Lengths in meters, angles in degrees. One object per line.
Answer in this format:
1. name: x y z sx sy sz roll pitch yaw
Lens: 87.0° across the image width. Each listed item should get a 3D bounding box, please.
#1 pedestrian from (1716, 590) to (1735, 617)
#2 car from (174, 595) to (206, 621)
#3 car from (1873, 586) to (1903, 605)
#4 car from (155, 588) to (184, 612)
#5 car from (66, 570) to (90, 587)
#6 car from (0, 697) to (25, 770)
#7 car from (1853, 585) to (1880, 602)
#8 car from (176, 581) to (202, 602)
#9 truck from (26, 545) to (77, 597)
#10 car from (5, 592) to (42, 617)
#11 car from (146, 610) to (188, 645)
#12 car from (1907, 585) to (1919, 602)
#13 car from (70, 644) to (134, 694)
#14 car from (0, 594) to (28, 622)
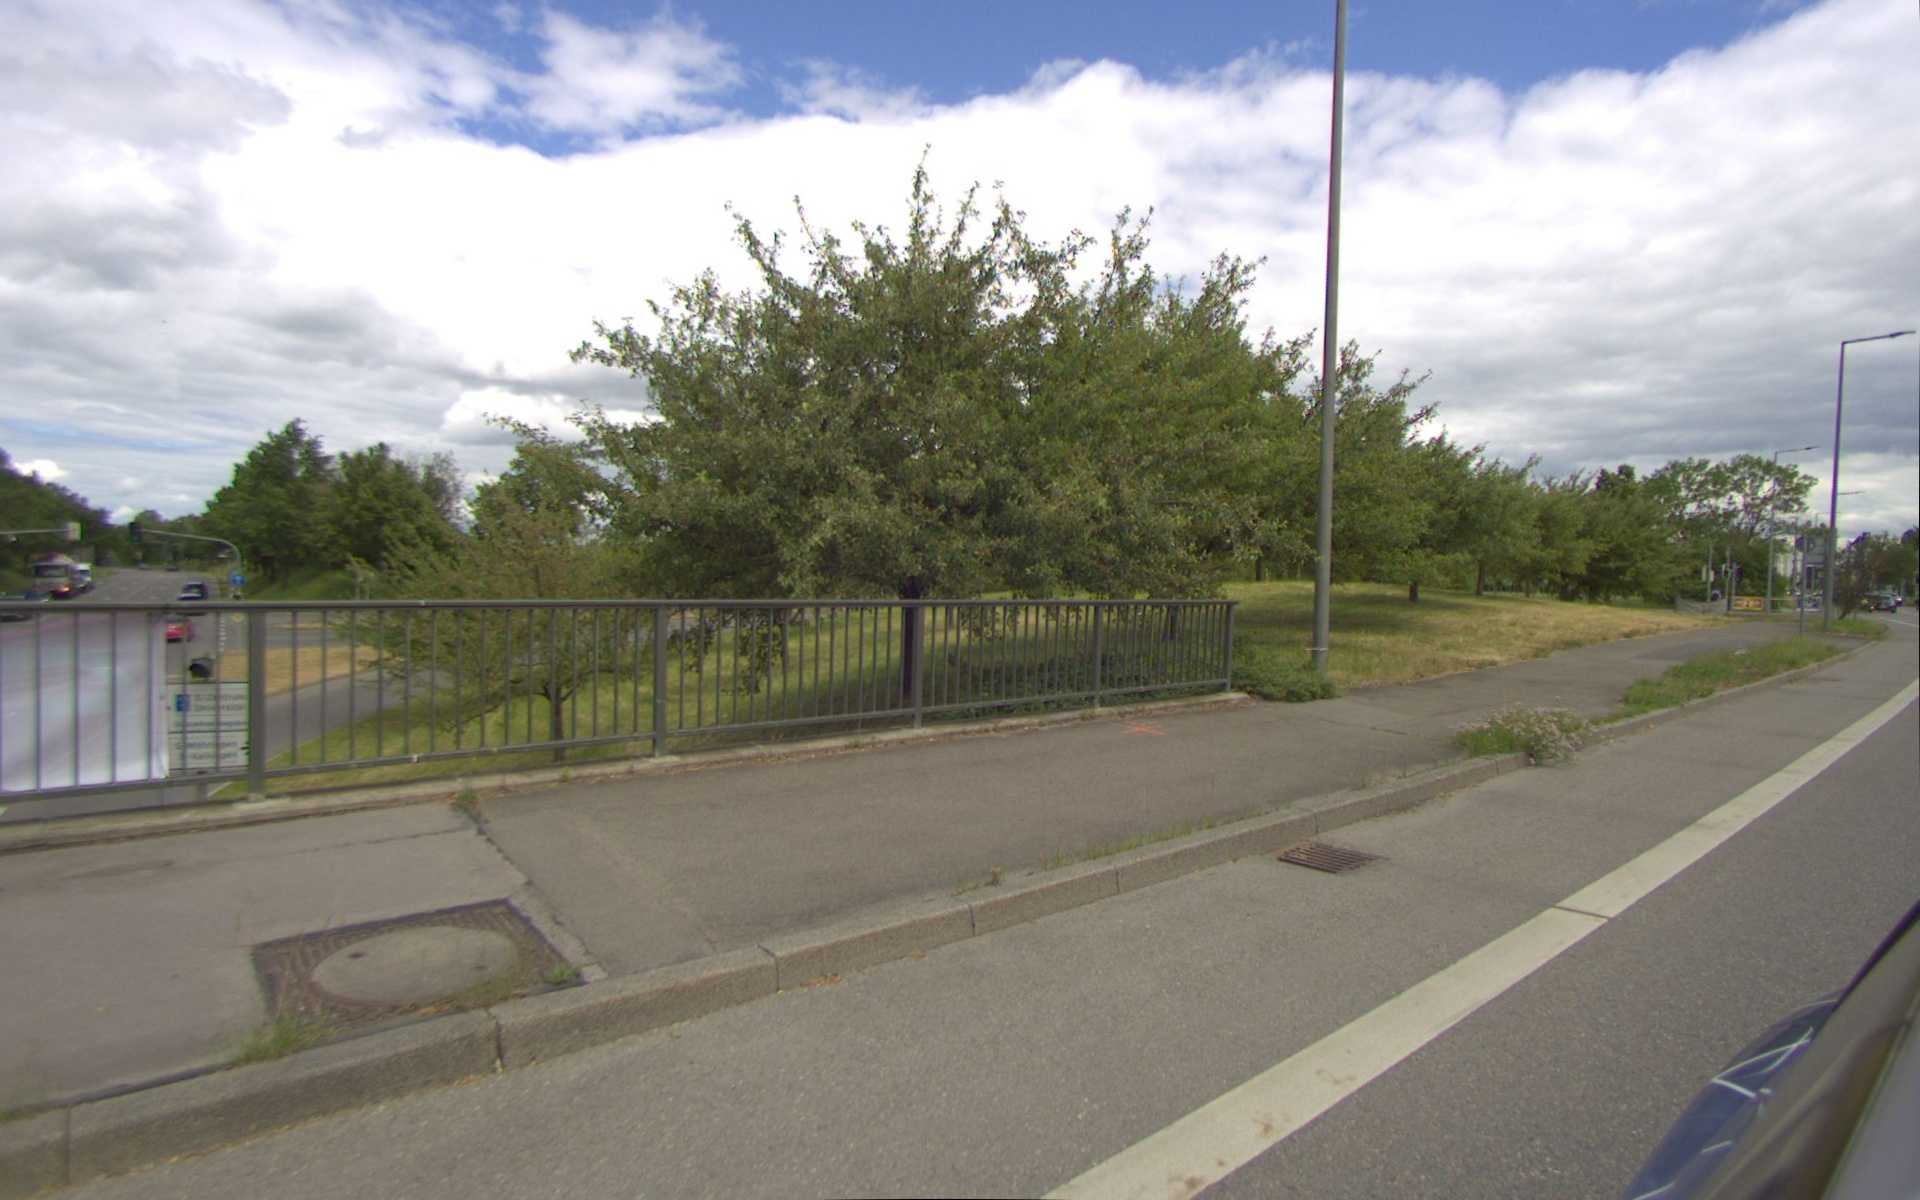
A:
1. pedestrian: 54.434 0.224 71.970 0.784 1.906 0.767 0 0 -11
2. car: -55.132 0.537 72.472 1.650 1.559 3.858 2 3 -36
3. car: 74.919 -0.390 81.741 1.730 1.459 4.303 1 1 42
4. car: -61.056 -0.014 78.204 1.676 1.584 4.028 1 3 -38
5. car: -91.016 -2.226 104.455 1.650 1.559 3.856 1 3 -38
6. car: -28.458 3.818 29.223 1.650 1.559 3.856 3 1 -36
7. car: 81.299 -0.566 90.817 1.730 1.459 4.303 1 1 42
8. car: -67.577 -0.758 88.708 1.650 1.559 3.858 2 3 -36
9. truck: -80.372 -2.637 89.652 2.664 4.078 8.768 1 3 -38
10. car: -71.315 0.345 77.075 1.650 1.559 4.072 1 3 -38
11. car: -44.227 1.499 56.478 1.650 1.559 3.858 2 3 -36
12. car: 100.718 -0.695 106.137 1.866 1.716 4.306 1 1 42
13. car: -35.098 2.775 41.487 1.650 1.559 3.858 2 3 -36
14. car: -62.845 0.496 66.712 1.650 1.559 4.072 1 3 -38
